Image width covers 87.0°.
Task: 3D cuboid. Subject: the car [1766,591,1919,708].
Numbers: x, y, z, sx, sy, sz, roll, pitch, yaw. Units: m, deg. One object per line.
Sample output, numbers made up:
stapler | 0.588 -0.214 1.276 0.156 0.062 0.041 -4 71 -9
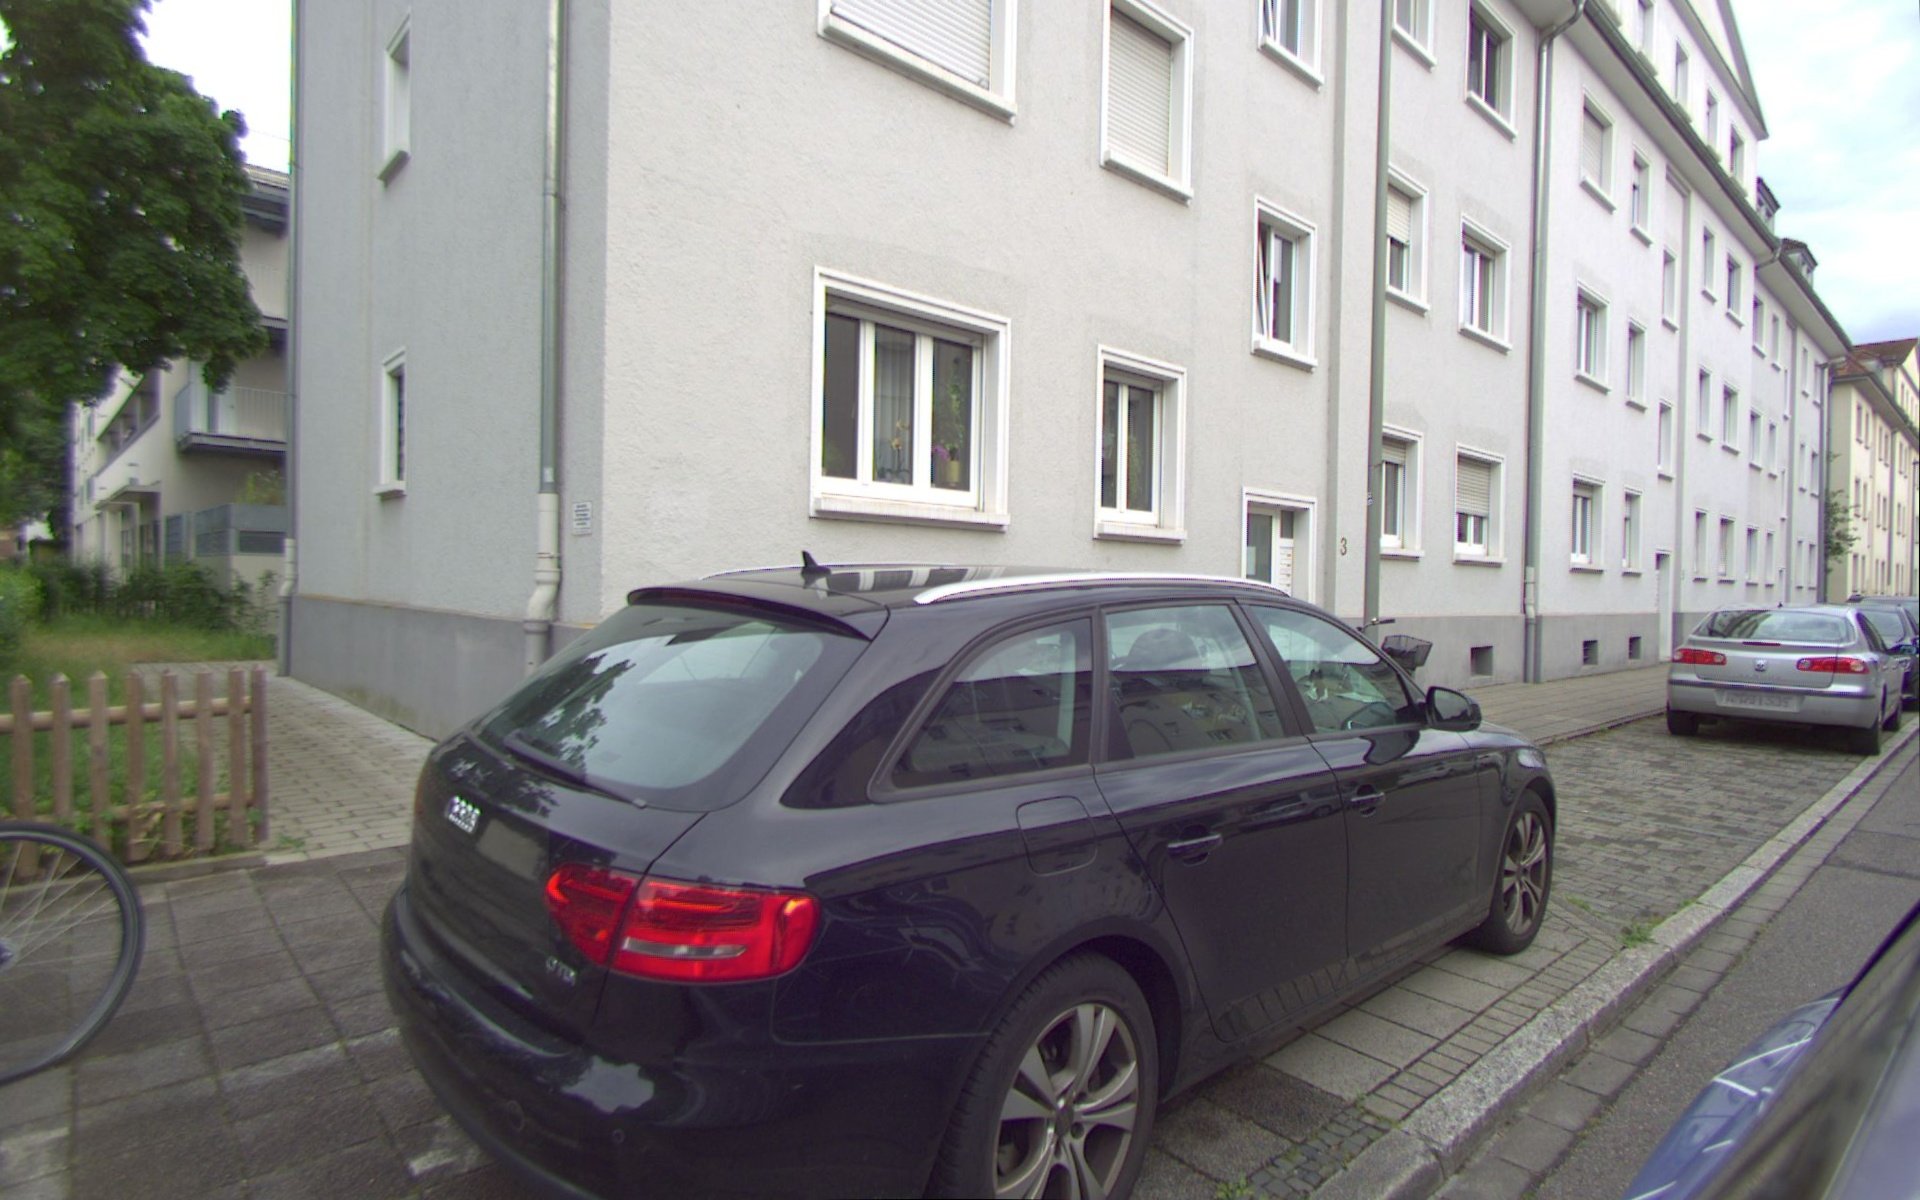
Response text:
car | 13.527 0.652 15.098 4.251 1.481 1.783 1 1 -44

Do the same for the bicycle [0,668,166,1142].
bicycle | -2.857 0.745 2.103 1.857 1.016 0.568 -2 4 -42

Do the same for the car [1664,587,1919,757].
car | 9.345 0.649 11.178 4.357 1.481 1.734 1 1 -44

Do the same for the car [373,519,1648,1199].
car | 0.762 0.606 3.620 4.647 1.480 1.862 0 2 -44

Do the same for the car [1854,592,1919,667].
car | 21.050 0.628 22.215 3.692 1.505 1.735 1 1 -42

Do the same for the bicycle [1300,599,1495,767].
bicycle | 3.692 0.628 8.467 1.862 1.215 0.750 1 2 -42

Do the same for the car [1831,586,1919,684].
car | 17.550 0.609 18.666 4.090 1.619 1.850 1 1 -44
